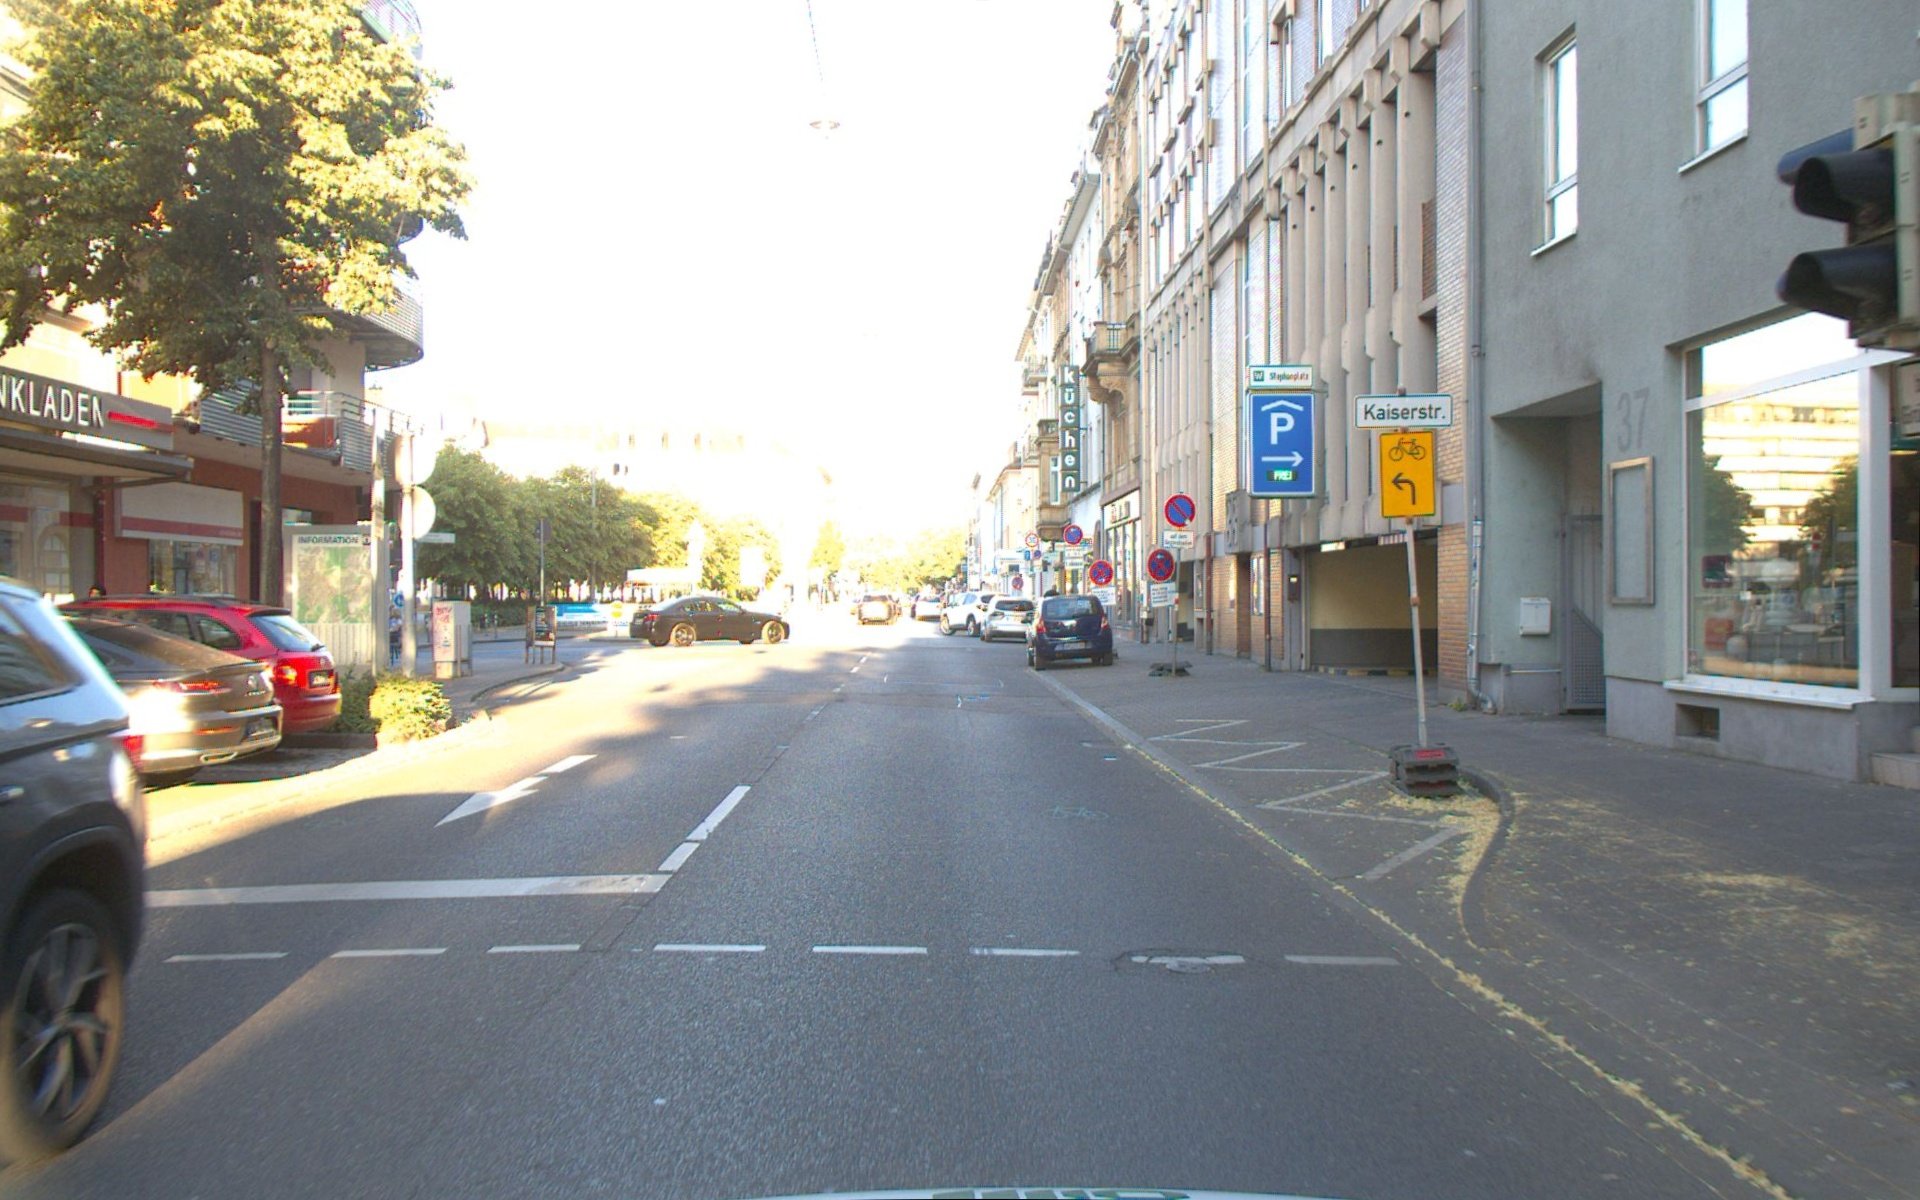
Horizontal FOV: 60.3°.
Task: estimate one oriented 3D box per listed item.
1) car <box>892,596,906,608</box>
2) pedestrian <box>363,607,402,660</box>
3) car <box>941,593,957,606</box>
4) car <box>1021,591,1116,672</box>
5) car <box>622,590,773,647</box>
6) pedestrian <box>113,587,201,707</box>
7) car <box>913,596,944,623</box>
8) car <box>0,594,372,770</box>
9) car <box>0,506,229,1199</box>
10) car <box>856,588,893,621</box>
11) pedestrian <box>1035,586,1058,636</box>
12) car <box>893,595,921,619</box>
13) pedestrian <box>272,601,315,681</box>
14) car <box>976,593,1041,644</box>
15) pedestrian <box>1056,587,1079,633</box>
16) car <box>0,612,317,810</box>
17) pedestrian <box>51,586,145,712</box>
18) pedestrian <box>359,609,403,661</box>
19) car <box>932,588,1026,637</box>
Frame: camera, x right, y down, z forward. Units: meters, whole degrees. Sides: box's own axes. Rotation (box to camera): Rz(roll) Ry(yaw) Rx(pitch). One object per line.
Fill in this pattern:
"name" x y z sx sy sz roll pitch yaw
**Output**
"car" -7.795 0.250 211.117 1.744 1.574 3.998 0 0 -2
"pedestrian" -14.524 0.845 41.608 0.812 1.295 0.747 -1 -1 -10
"car" -1.352 -0.031 206.993 1.858 1.609 3.850 0 0 -2
"car" 2.308 0.646 36.068 1.723 1.563 4.000 -3 0 0
"car" -7.710 0.558 48.682 3.953 1.609 1.880 1 0 -35
"pedestrian" -10.735 0.624 22.145 0.719 1.555 0.875 1 -1 -1
"car" -1.968 0.579 102.767 1.858 1.609 3.998 1 0 -2
"car" -8.042 0.747 16.025 3.990 1.563 1.883 1 0 -2
"car" -3.210 0.657 3.061 1.824 1.722 4.459 -1 1 -2
"car" -4.510 0.237 87.780 1.858 1.678 4.103 0 0 -2
"pedestrian" 3.313 0.412 63.597 0.757 1.859 1.010 -2 0 -2
"car" -3.728 0.473 116.313 1.858 1.608 3.850 2 0 -2
"pedestrian" -13.759 0.842 34.150 0.584 1.623 0.702 -1 -1 0
"car" 1.554 0.614 54.649 1.724 1.563 4.818 2 -1 -3
"pedestrian" 4.133 0.389 63.690 0.757 1.741 1.041 -2 0 -2
"car" -7.748 0.830 13.230 4.479 1.432 1.820 1 0 -3
"pedestrian" -11.496 0.651 22.088 0.756 1.636 0.875 1 -1 -1
"pedestrian" -14.286 0.859 40.837 0.881 1.264 0.766 -1 -1 -10
"car" 0.665 0.471 63.113 1.967 1.792 4.433 -1 0 -23
